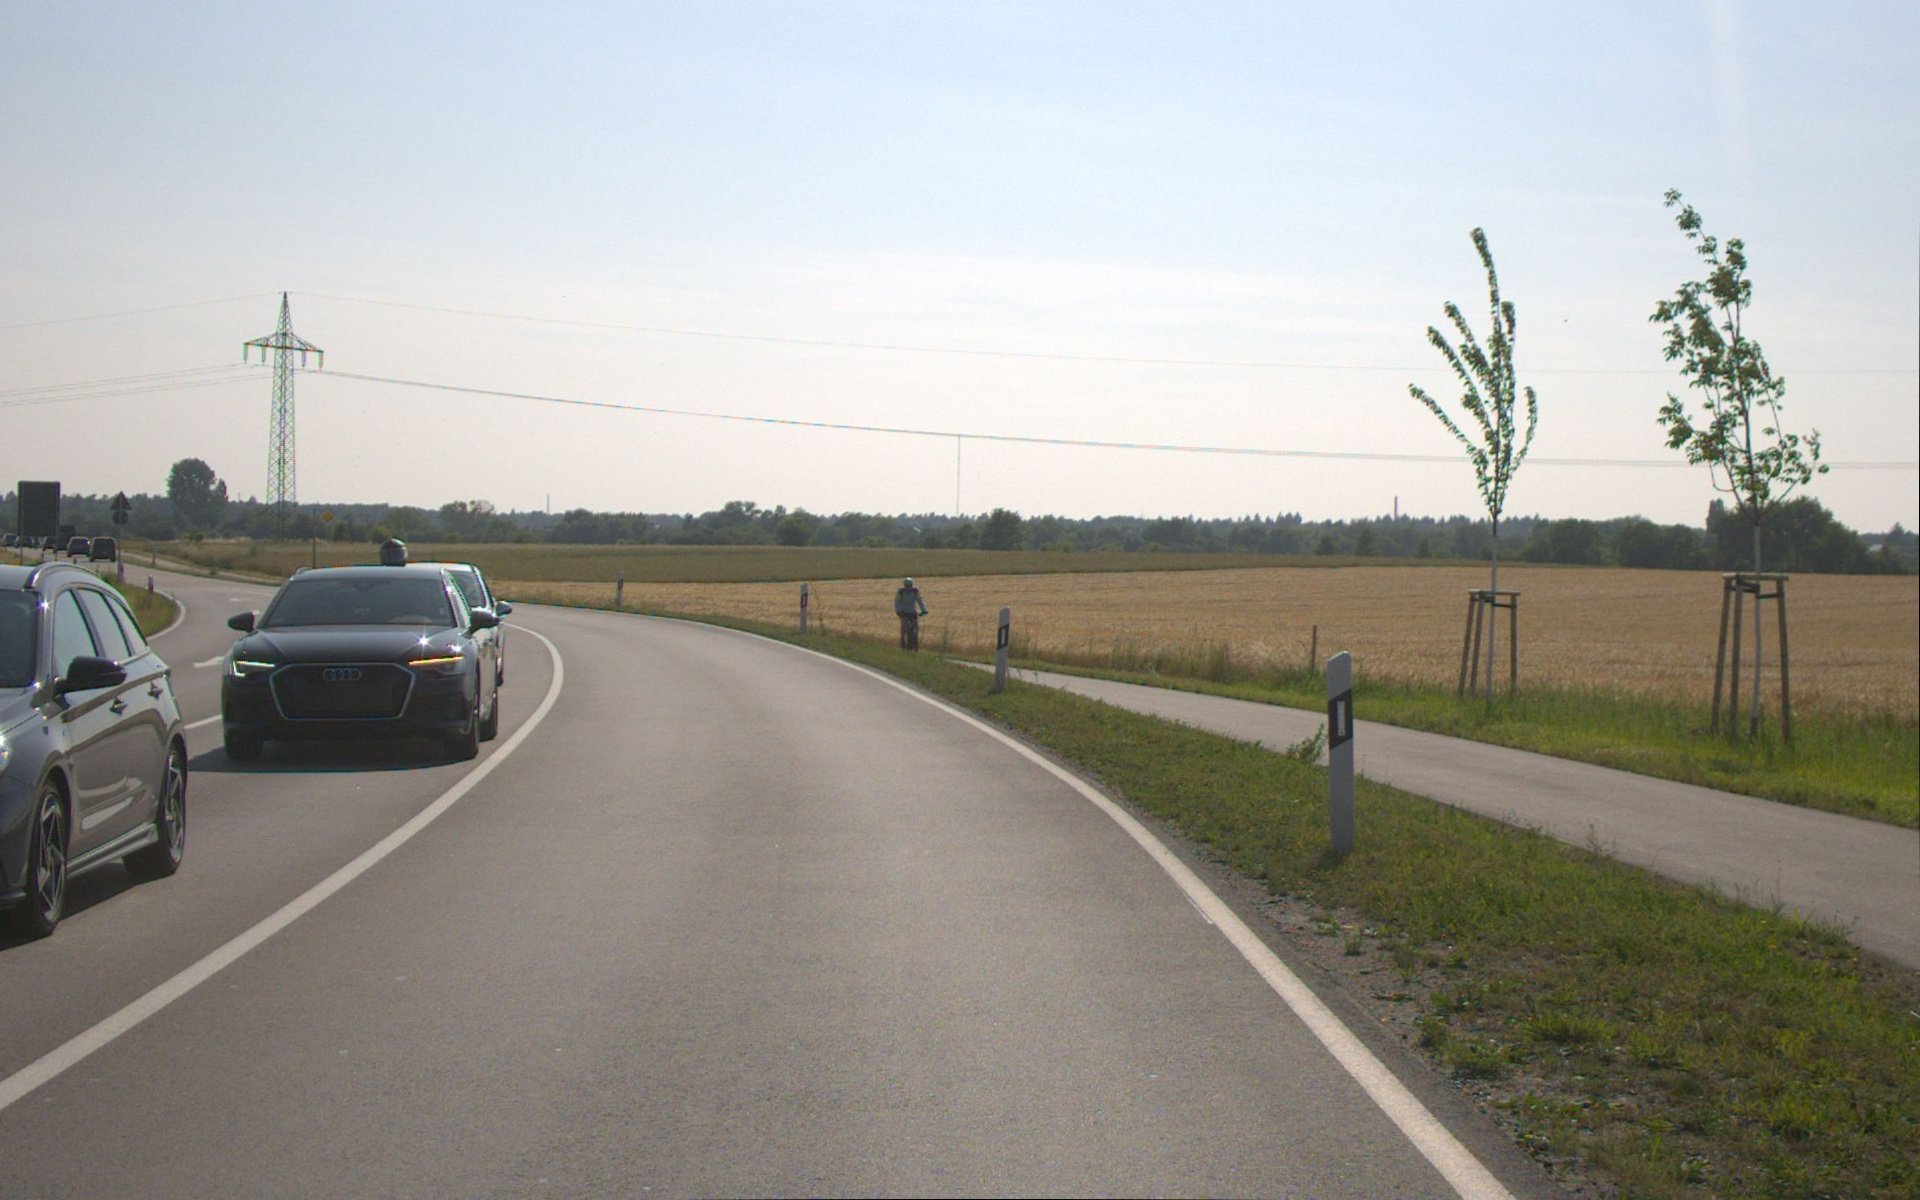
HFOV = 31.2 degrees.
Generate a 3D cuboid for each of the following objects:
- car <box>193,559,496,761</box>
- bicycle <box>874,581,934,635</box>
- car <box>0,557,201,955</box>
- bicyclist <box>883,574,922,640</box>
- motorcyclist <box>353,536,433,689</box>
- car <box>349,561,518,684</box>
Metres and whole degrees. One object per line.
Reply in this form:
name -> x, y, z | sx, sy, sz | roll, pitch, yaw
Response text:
car -> -4.723, 0.406, 26.998 | 1.890, 1.431, 4.797 | 1, 1, -5
bicycle -> -1.270, 0.167, 76.916 | 0.845, 1.138, 2.207 | 3, 0, -13
car -> -4.547, 0.557, 14.528 | 1.890, 1.456, 4.306 | 0, 1, -2
bicyclist -> -1.290, 0.150, 76.971 | 0.637, 1.452, 0.817 | 3, 0, -13
motorcyclist -> -5.616, 0.117, 34.093 | 0.677, 1.490, 0.847 | 1, 1, -3
car -> -6.260, 0.238, 41.229 | 1.686, 1.398, 4.001 | 0, 1, -4
